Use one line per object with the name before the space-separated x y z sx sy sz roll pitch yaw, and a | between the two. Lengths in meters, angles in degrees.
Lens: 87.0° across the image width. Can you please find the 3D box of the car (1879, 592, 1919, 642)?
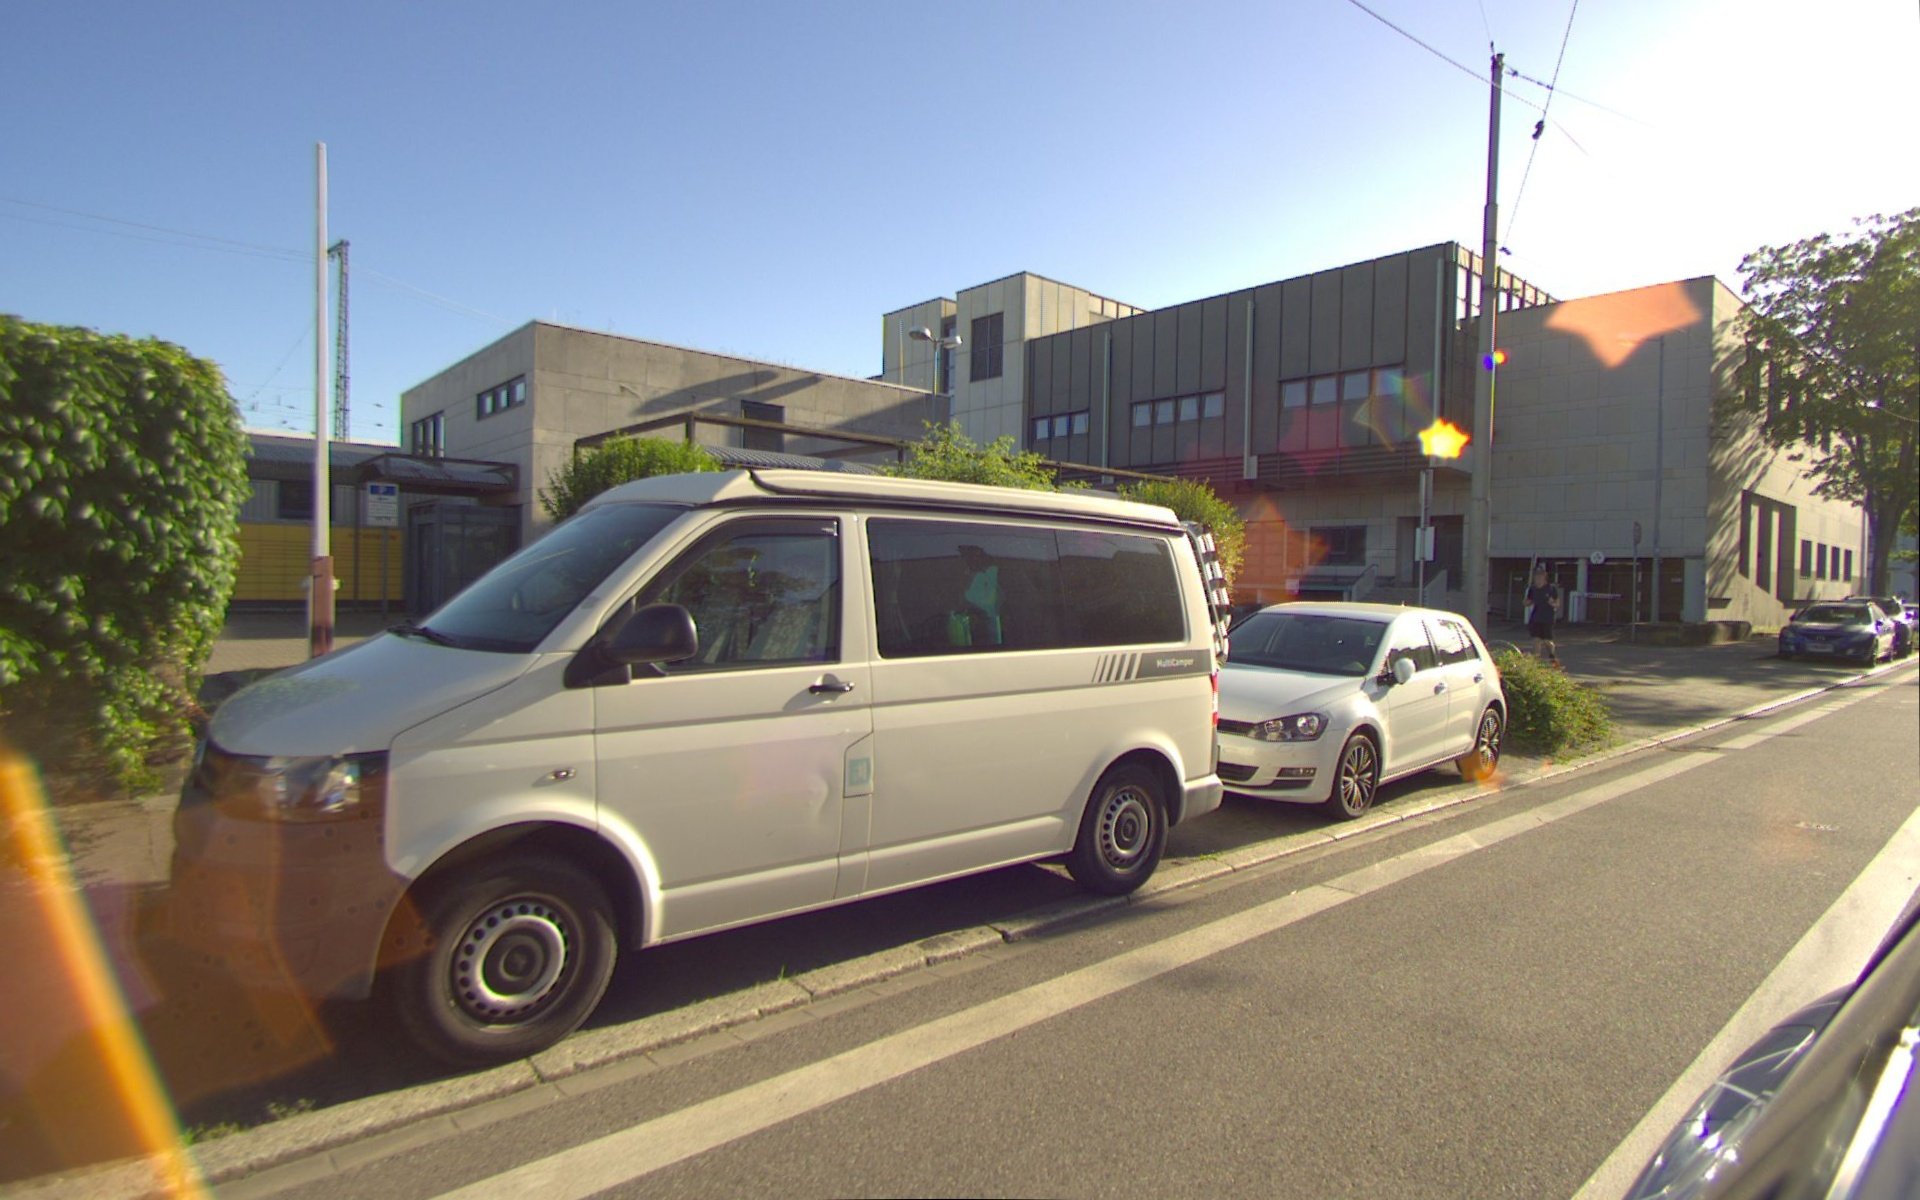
car | 31.731 0.560 33.264 4.543 1.508 1.716 1 2 -41

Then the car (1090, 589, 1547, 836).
car | 3.165 0.675 8.388 4.427 1.435 1.678 -1 4 -43

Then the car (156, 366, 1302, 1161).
car | -0.619 0.365 4.919 5.148 2.016 1.858 -1 2 -39

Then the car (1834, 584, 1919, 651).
car | 26.025 0.429 28.515 4.207 1.733 1.743 -1 2 -44

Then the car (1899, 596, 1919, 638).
car | 35.974 0.639 37.183 4.253 1.425 1.712 -1 3 -41

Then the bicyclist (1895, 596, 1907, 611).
bicyclist | 82.895 0.313 89.143 0.544 1.239 0.667 0 1 -41

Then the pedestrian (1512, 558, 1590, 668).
pedestrian | 10.330 0.198 17.687 1.281 1.810 0.672 0 5 -41

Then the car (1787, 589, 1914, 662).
car | 21.986 0.555 24.928 4.578 1.499 1.706 -1 5 -41
